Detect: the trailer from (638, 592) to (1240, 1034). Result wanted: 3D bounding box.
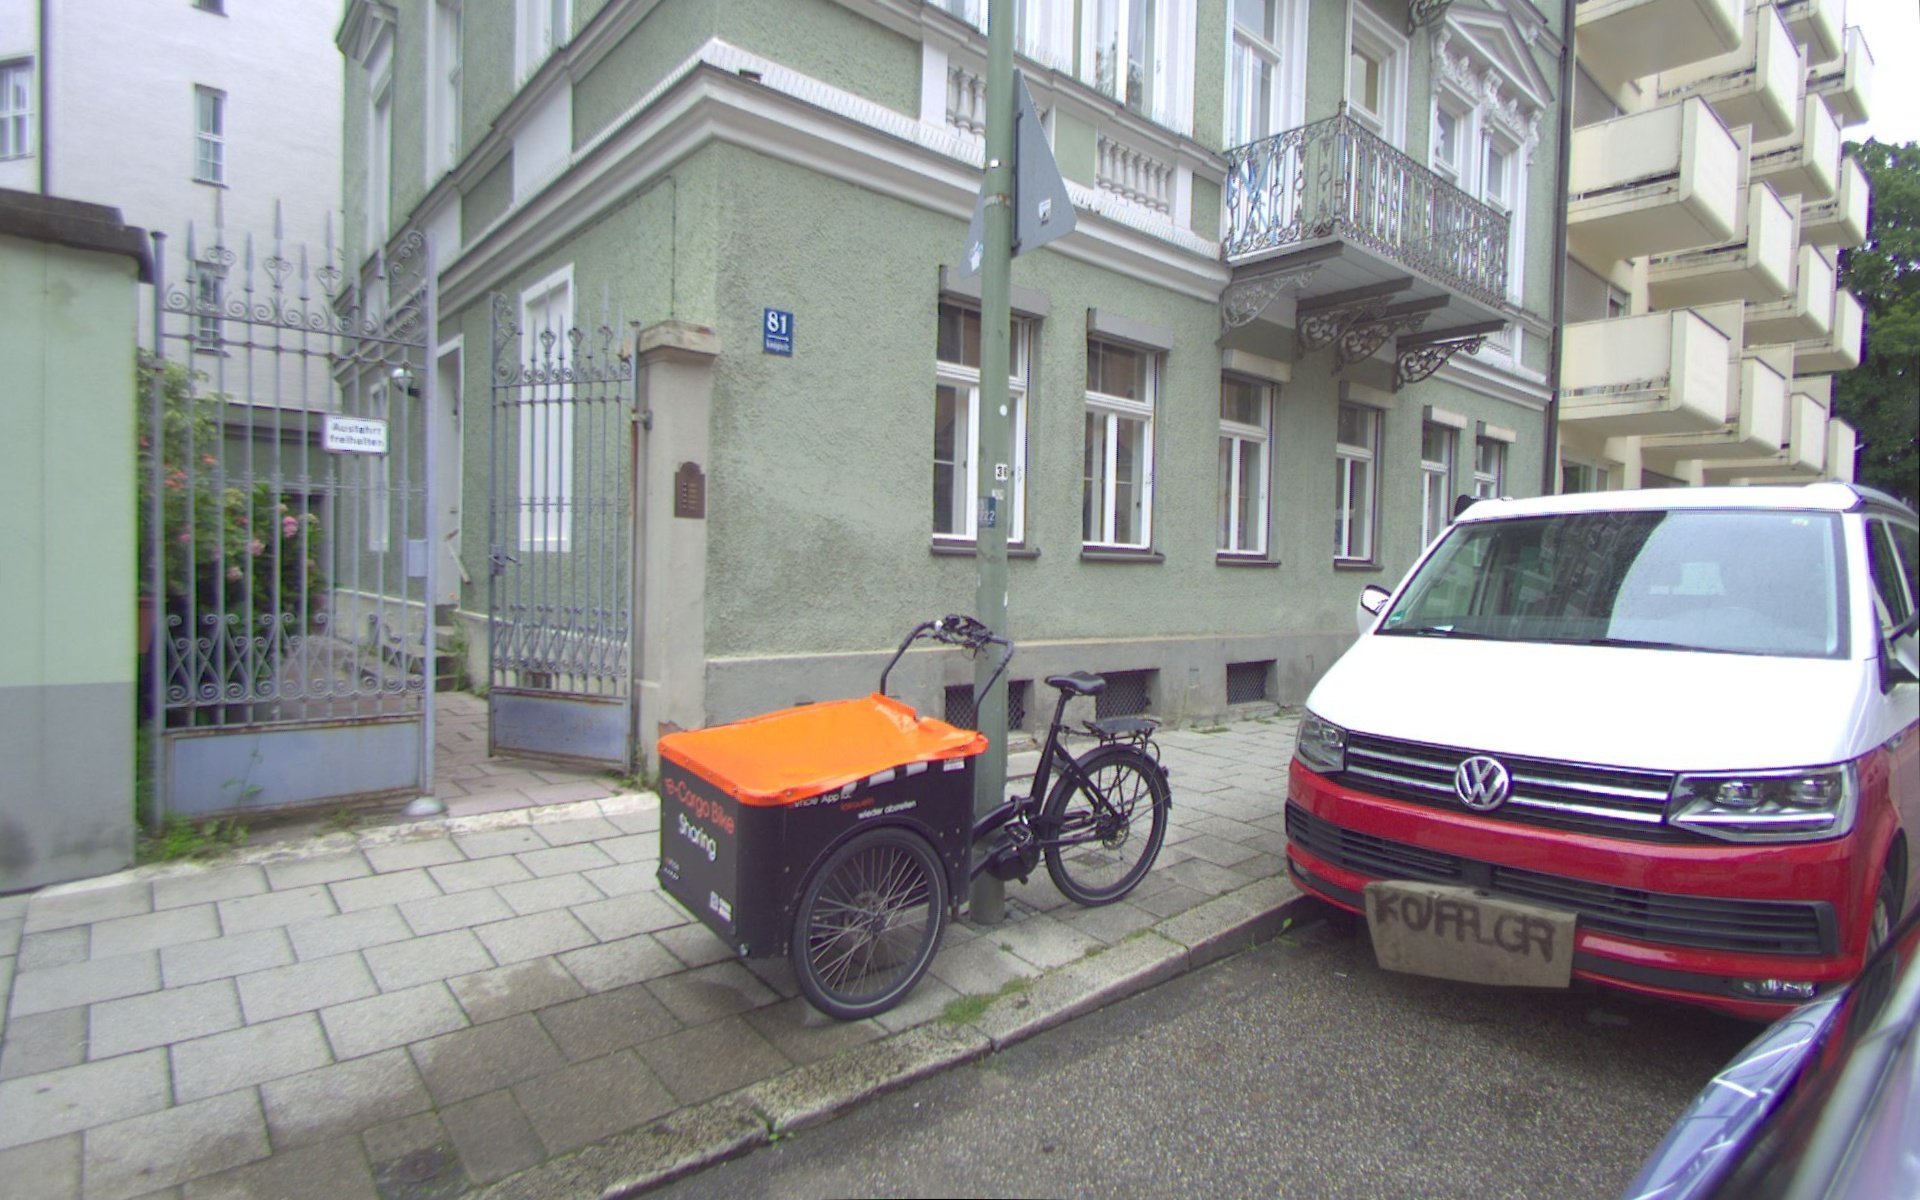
[{"bbox_3d":[-0.017,0.612,3.907,2.124,1.198,0.946,0,5,-37],"label":"trailer"}]

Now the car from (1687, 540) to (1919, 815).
[{"bbox_3d":[7.663,0.515,8.309,4.474,1.780,1.830,1,0,-42],"label":"car"}]

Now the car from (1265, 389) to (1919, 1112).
[{"bbox_3d":[3.547,0.395,4.877,4.511,1.920,1.857,0,0,-41],"label":"car"}]

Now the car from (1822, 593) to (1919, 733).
[{"bbox_3d":[11.861,0.683,12.333,3.909,1.515,1.549,0,0,-42],"label":"car"}]
